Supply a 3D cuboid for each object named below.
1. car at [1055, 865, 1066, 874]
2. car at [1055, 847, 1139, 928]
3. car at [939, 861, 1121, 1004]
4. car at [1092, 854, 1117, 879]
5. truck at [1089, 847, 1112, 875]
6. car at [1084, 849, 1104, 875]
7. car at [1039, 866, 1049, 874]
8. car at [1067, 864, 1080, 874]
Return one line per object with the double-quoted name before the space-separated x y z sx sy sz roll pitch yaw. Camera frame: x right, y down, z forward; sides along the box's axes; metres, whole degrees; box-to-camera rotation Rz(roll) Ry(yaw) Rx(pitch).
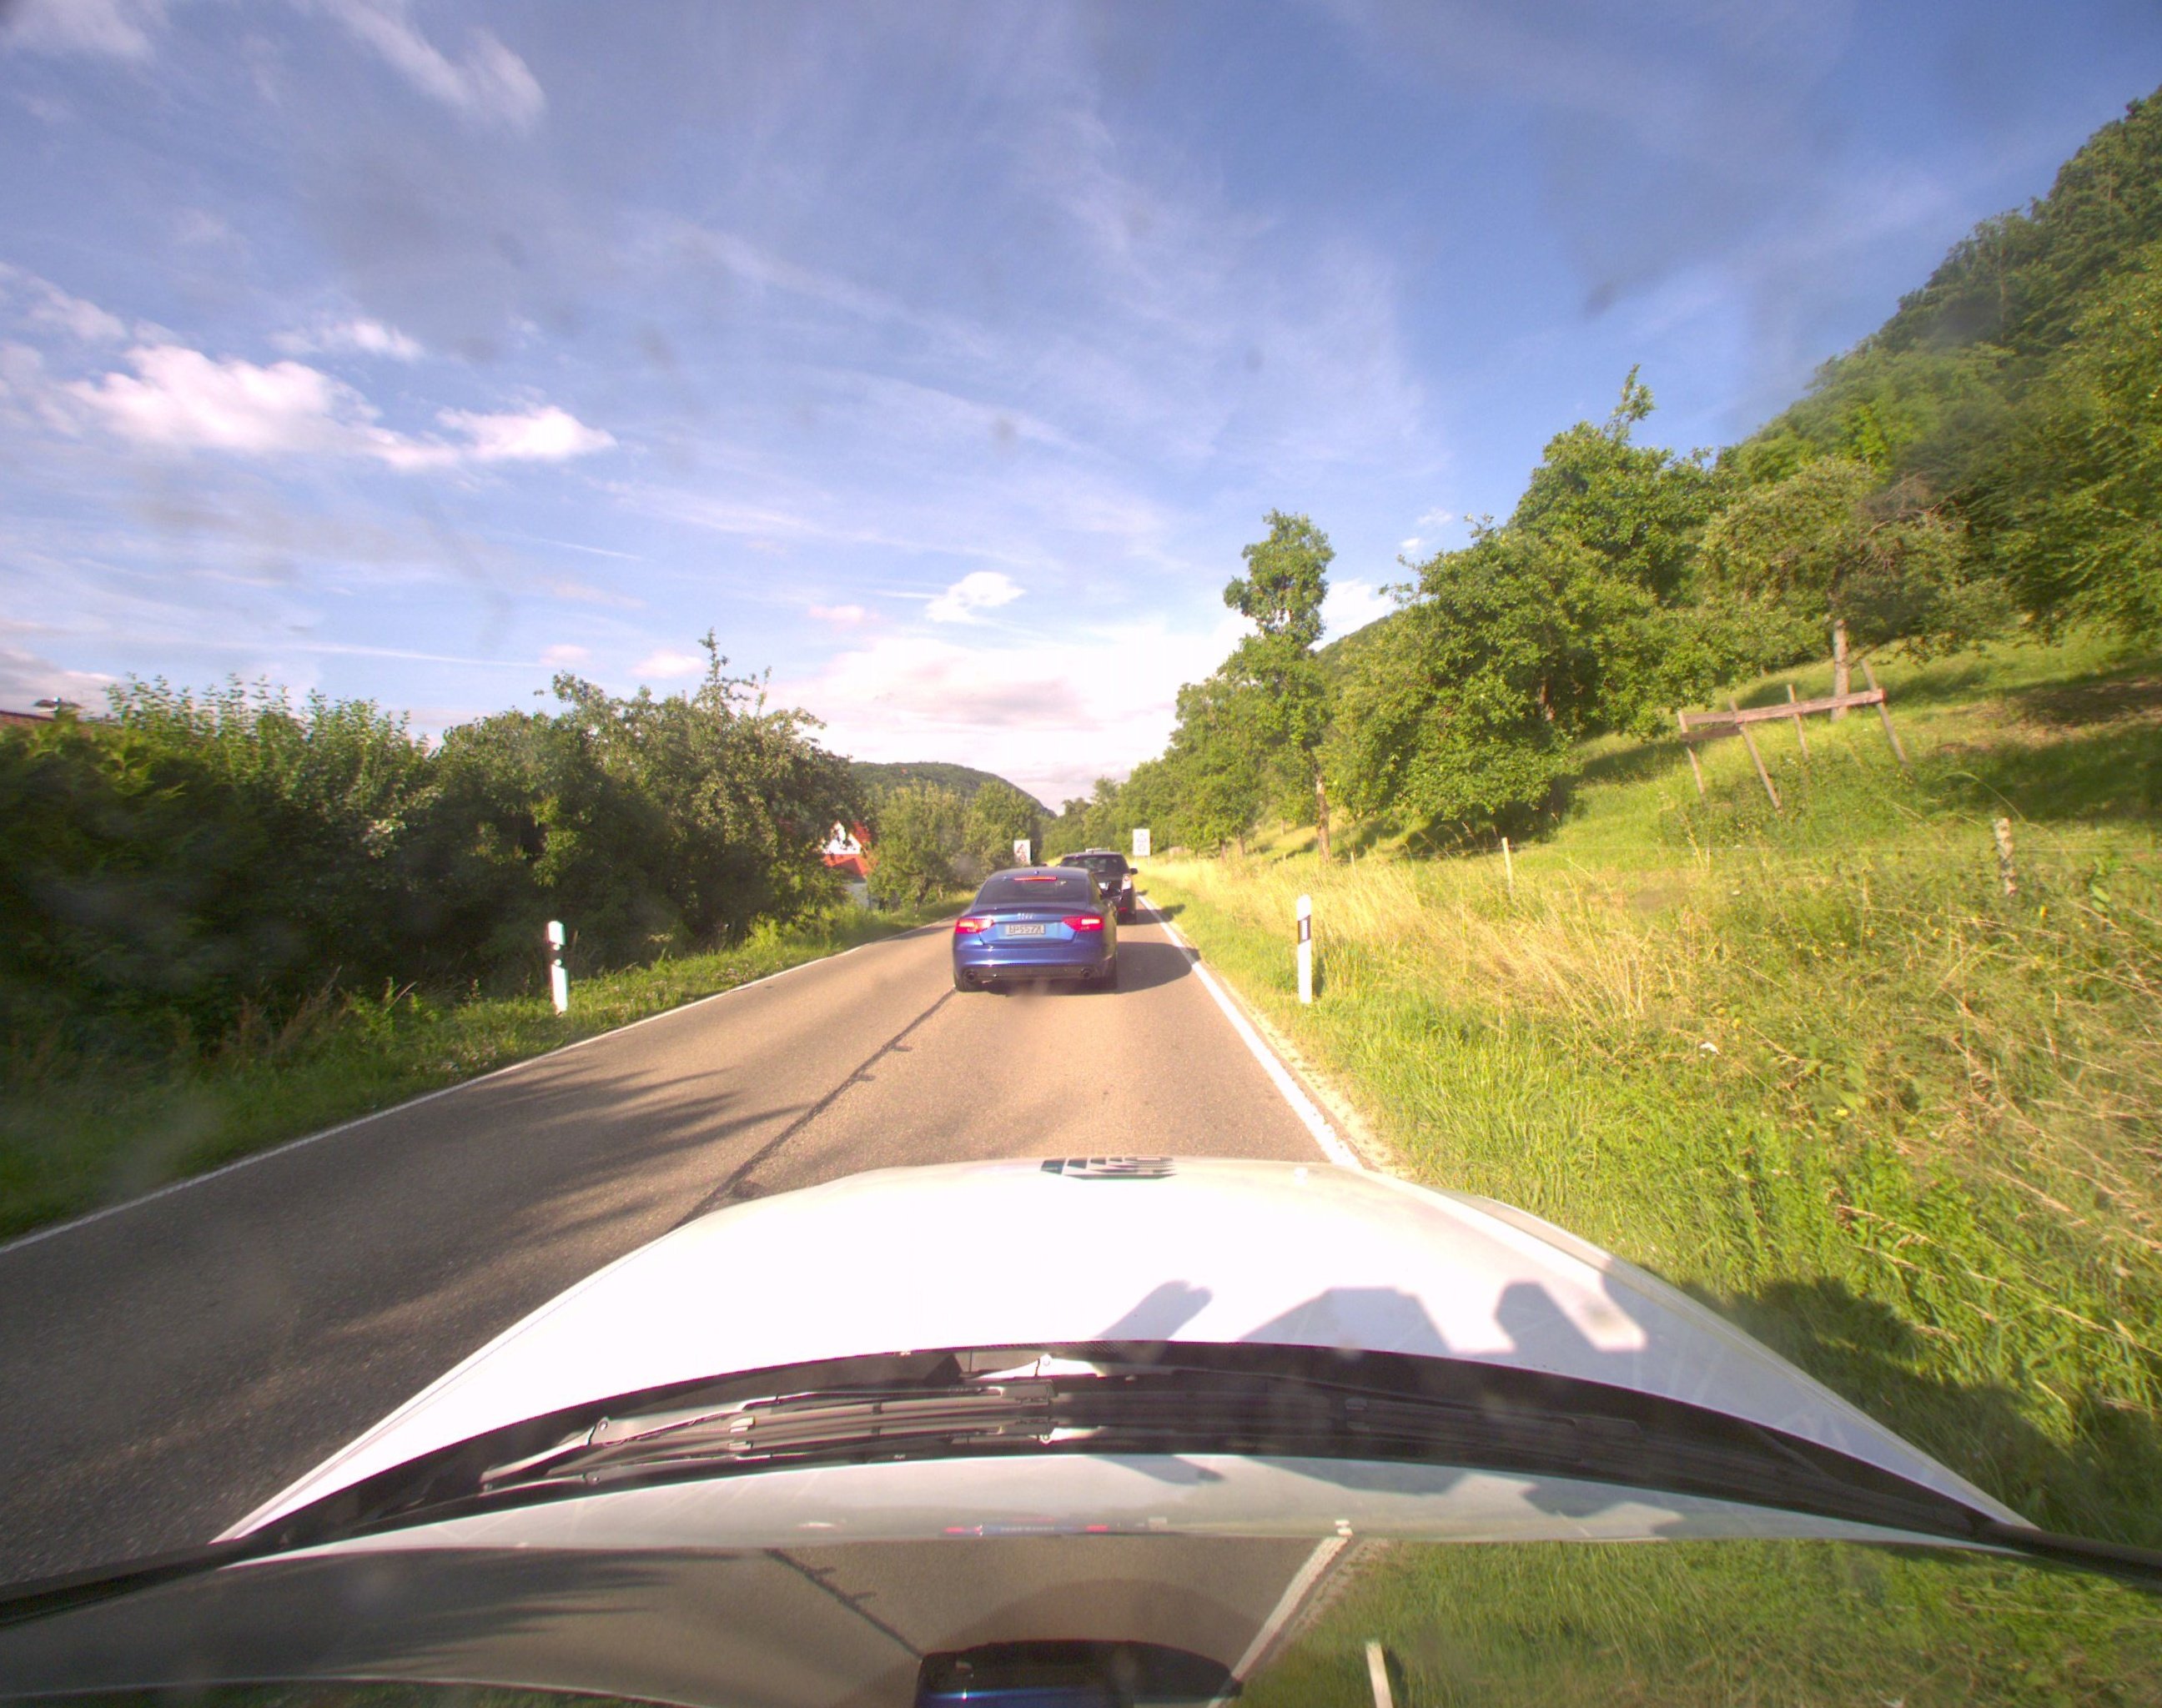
"car" -3.562 2.652 141.796 1.557 1.496 3.769 0 0 -7
"car" 0.384 0.690 18.642 1.686 1.624 3.790 -1 0 1
"car" -0.434 0.803 10.286 1.799 1.382 4.217 -1 0 2
"car" 1.618 0.859 56.103 1.686 1.624 3.790 -1 0 1
"truck" 1.669 0.594 70.361 1.943 2.345 5.094 0 0 1
"car" 1.251 0.770 80.058 1.787 2.453 3.917 0 0 -1
"car" -7.582 3.228 165.496 1.559 1.496 3.764 0 0 -11
"car" -1.199 2.382 126.556 1.745 1.496 3.770 0 0 -6
